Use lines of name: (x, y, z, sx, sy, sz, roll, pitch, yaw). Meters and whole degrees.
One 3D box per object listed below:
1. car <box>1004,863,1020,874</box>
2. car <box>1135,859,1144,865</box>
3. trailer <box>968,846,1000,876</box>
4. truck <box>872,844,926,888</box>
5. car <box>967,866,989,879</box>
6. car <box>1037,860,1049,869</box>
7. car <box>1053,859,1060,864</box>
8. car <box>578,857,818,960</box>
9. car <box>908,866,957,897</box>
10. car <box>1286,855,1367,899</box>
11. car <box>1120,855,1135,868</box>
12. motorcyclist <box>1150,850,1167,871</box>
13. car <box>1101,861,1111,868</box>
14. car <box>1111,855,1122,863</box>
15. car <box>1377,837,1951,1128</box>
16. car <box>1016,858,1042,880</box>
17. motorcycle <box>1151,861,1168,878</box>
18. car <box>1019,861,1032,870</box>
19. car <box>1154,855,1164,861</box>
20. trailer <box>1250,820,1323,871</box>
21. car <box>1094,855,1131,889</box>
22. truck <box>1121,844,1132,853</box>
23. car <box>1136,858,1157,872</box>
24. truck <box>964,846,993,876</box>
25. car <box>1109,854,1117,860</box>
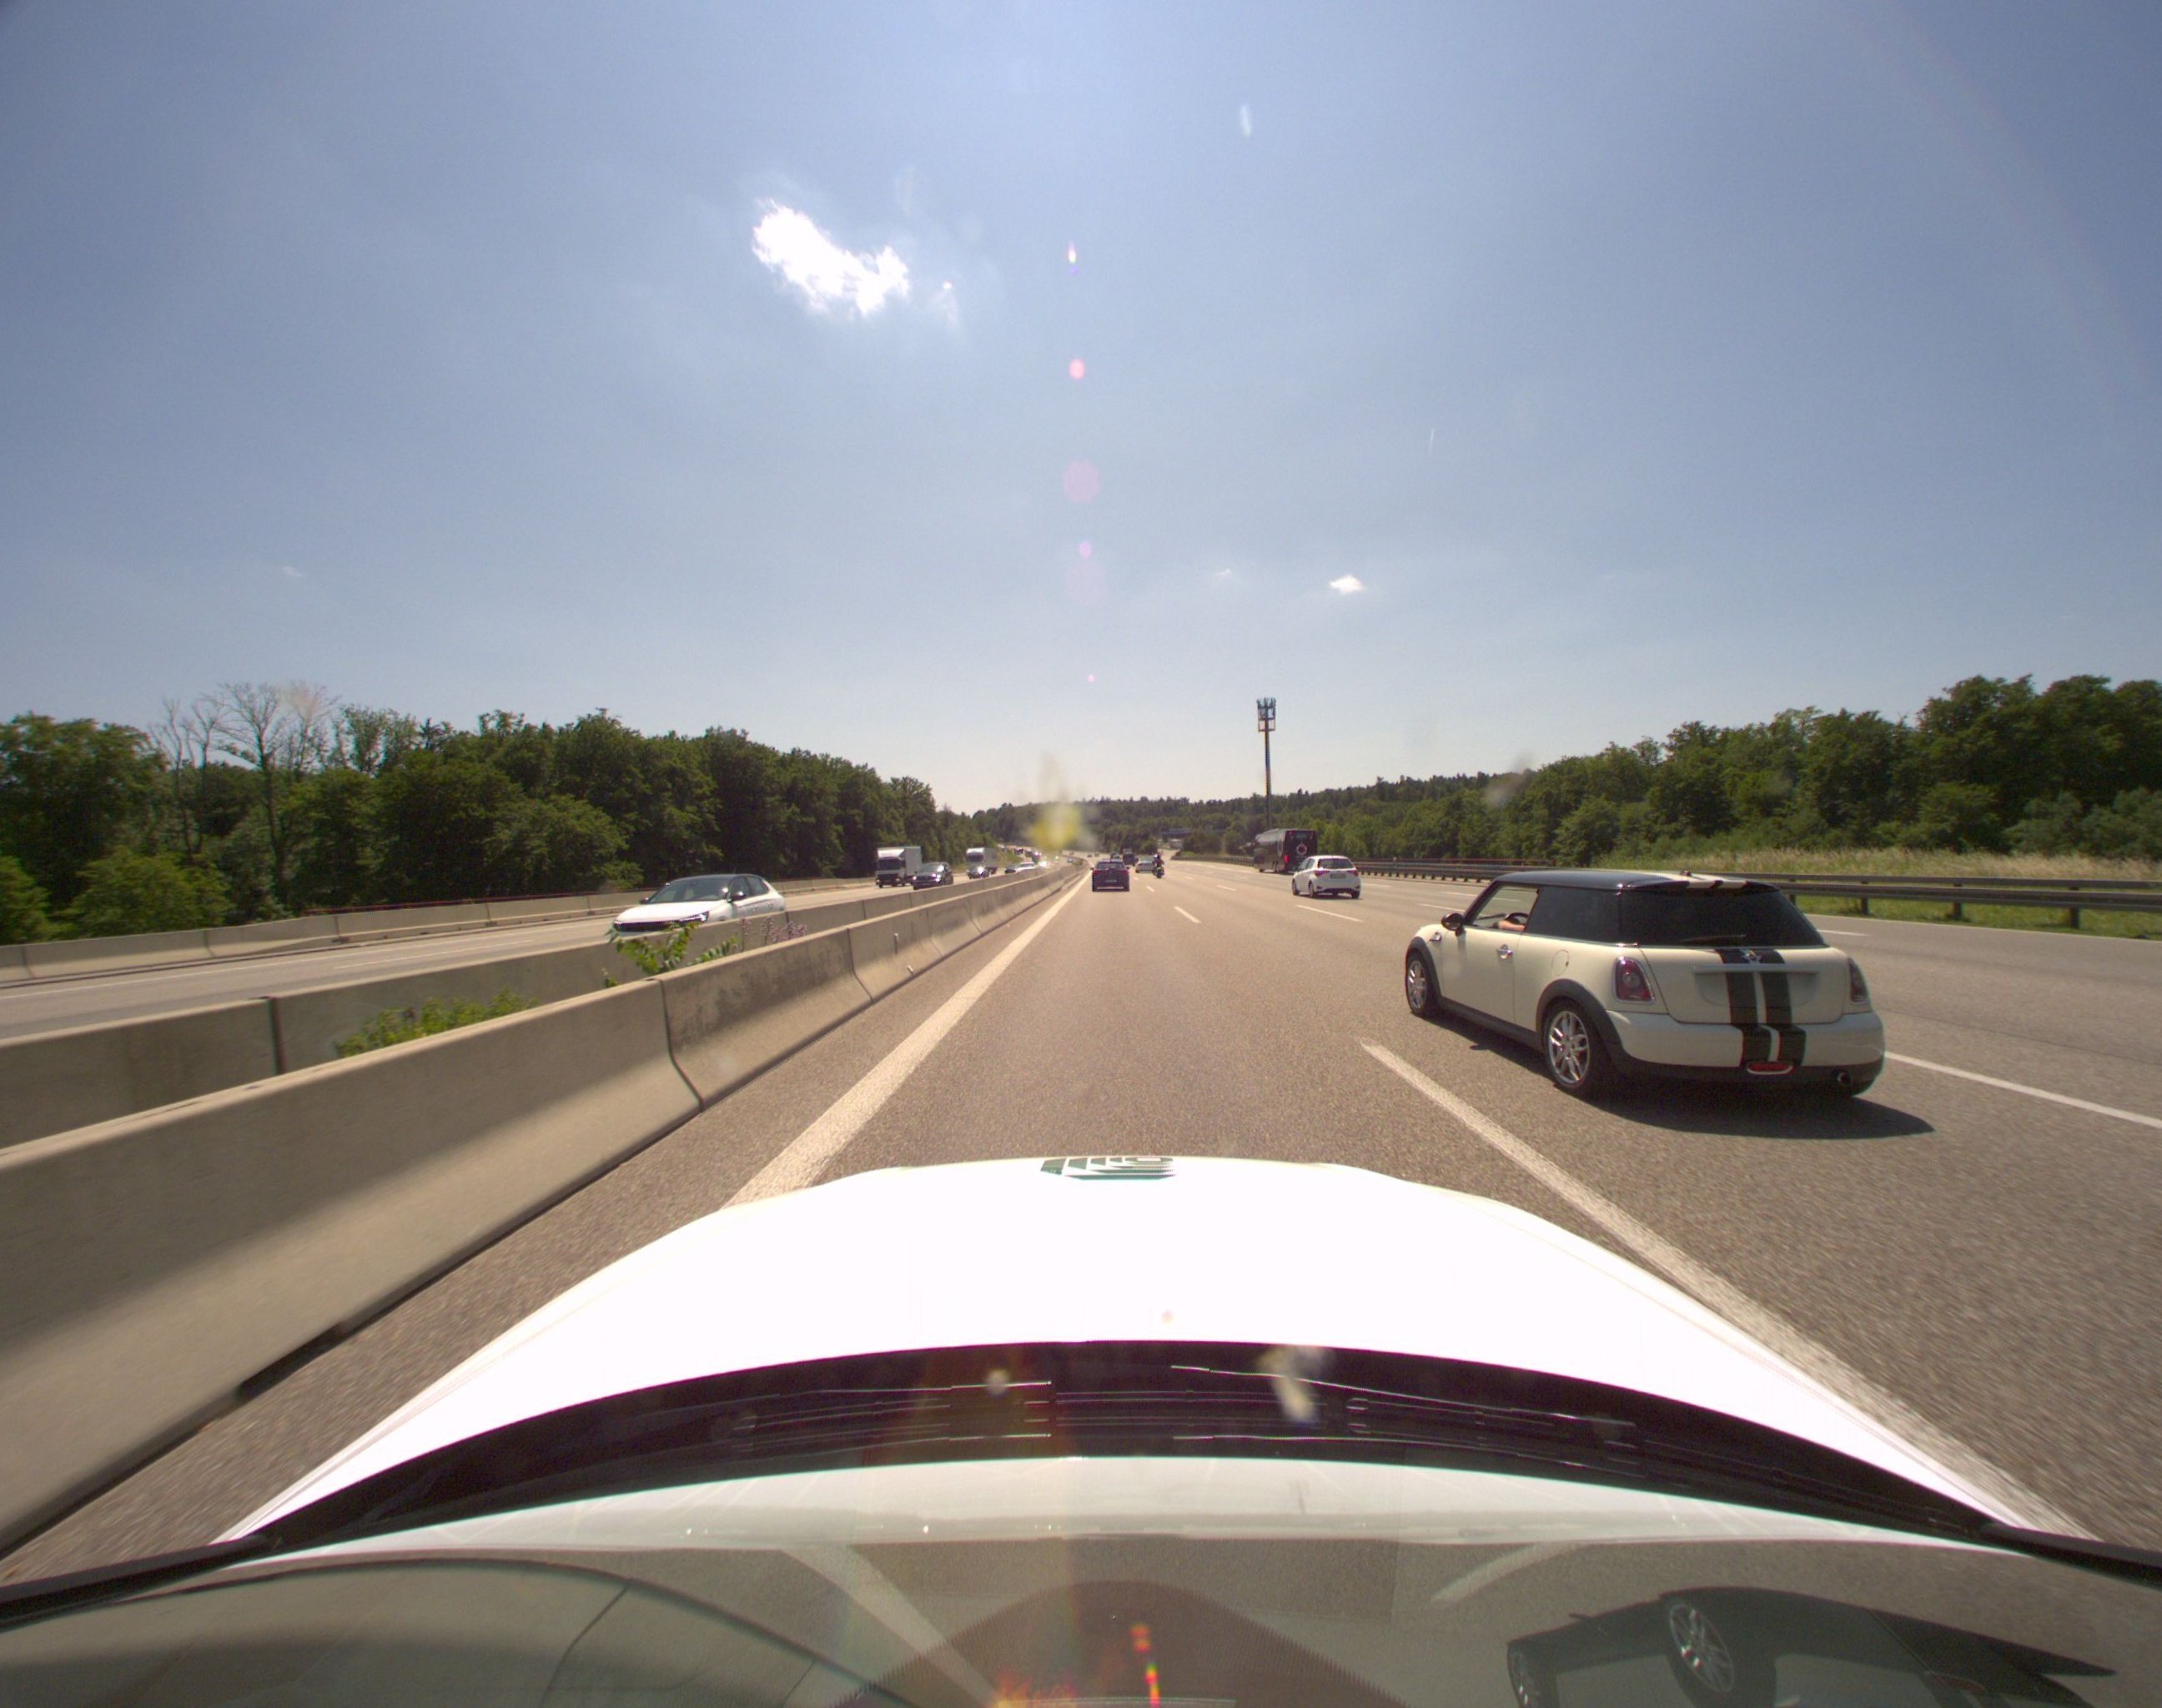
car: (-10.035, 2.087, 118.242, 1.791, 1.481, 4.398, -3, 0, 1)
car: (11.396, 1.540, 158.481, 1.603, 1.212, 3.459, -2, -1, 0)
trailer: (-14.737, 1.075, 124.944, 2.633, 4.224, 14.365, -4, 0, 1)
truck: (-16.255, 1.060, 73.280, 2.530, 3.571, 8.578, -4, 0, 1)
car: (-11.525, 2.042, 91.123, 1.791, 1.376, 4.533, -1, 0, 1)
car: (-6.846, 1.904, 147.566, 1.791, 1.481, 4.722, -2, 0, 1)
car: (-7.016, 2.148, 233.114, 1.761, 1.478, 4.482, -2, -1, 1)
car: (-6.874, 0.865, 15.452, 1.842, 1.523, 5.320, -3, 0, 1)
car: (-9.112, 1.639, 50.419, 1.986, 1.734, 4.926, -2, 0, 1)
car: (8.763, 0.783, 29.447, 1.660, 1.433, 4.376, -2, 0, 1)
car: (7.024, 1.087, 123.300, 2.090, 1.851, 4.080, -2, 0, 0)
motorcyclist: (5.447, 0.467, 57.488, 0.960, 1.437, 1.234, -3, 0, -3)
car: (4.269, 1.834, 139.526, 1.532, 1.212, 3.457, -2, -1, -2)
car: (7.826, 1.108, 178.765, 1.989, 1.684, 4.419, 0, 1, -3)
car: (3.941, 0.674, 6.489, 1.834, 1.552, 4.003, -1, 1, 2)
car: (-4.829, 1.337, 75.816, 1.766, 1.879, 5.215, 0, 1, 3)
motorcycle: (5.512, 1.078, 57.339, 0.974, 1.129, 2.270, -2, 0, -1)
car: (-10.568, 2.176, 154.887, 1.791, 1.643, 5.080, -4, -1, 1)
car: (15.981, 0.820, 166.953, 1.603, 1.212, 3.459, -2, -1, 0)
trailer: (16.761, -0.585, 67.691, 2.847, 3.688, 13.545, -2, -1, 1)
car: (1.450, 0.870, 37.642, 1.618, 1.487, 3.686, -1, -2, 2)
truck: (14.213, -1.600, 254.884, 2.720, 2.786, 5.678, 0, 1, -3)
car: (6.171, 1.011, 77.203, 1.776, 1.265, 3.461, -2, 0, 2)
truck: (-14.878, 1.019, 118.893, 2.705, 4.099, 7.879, -4, 0, 1)
car: (10.240, 1.009, 260.528, 1.989, 2.013, 4.670, 0, 1, -3)
